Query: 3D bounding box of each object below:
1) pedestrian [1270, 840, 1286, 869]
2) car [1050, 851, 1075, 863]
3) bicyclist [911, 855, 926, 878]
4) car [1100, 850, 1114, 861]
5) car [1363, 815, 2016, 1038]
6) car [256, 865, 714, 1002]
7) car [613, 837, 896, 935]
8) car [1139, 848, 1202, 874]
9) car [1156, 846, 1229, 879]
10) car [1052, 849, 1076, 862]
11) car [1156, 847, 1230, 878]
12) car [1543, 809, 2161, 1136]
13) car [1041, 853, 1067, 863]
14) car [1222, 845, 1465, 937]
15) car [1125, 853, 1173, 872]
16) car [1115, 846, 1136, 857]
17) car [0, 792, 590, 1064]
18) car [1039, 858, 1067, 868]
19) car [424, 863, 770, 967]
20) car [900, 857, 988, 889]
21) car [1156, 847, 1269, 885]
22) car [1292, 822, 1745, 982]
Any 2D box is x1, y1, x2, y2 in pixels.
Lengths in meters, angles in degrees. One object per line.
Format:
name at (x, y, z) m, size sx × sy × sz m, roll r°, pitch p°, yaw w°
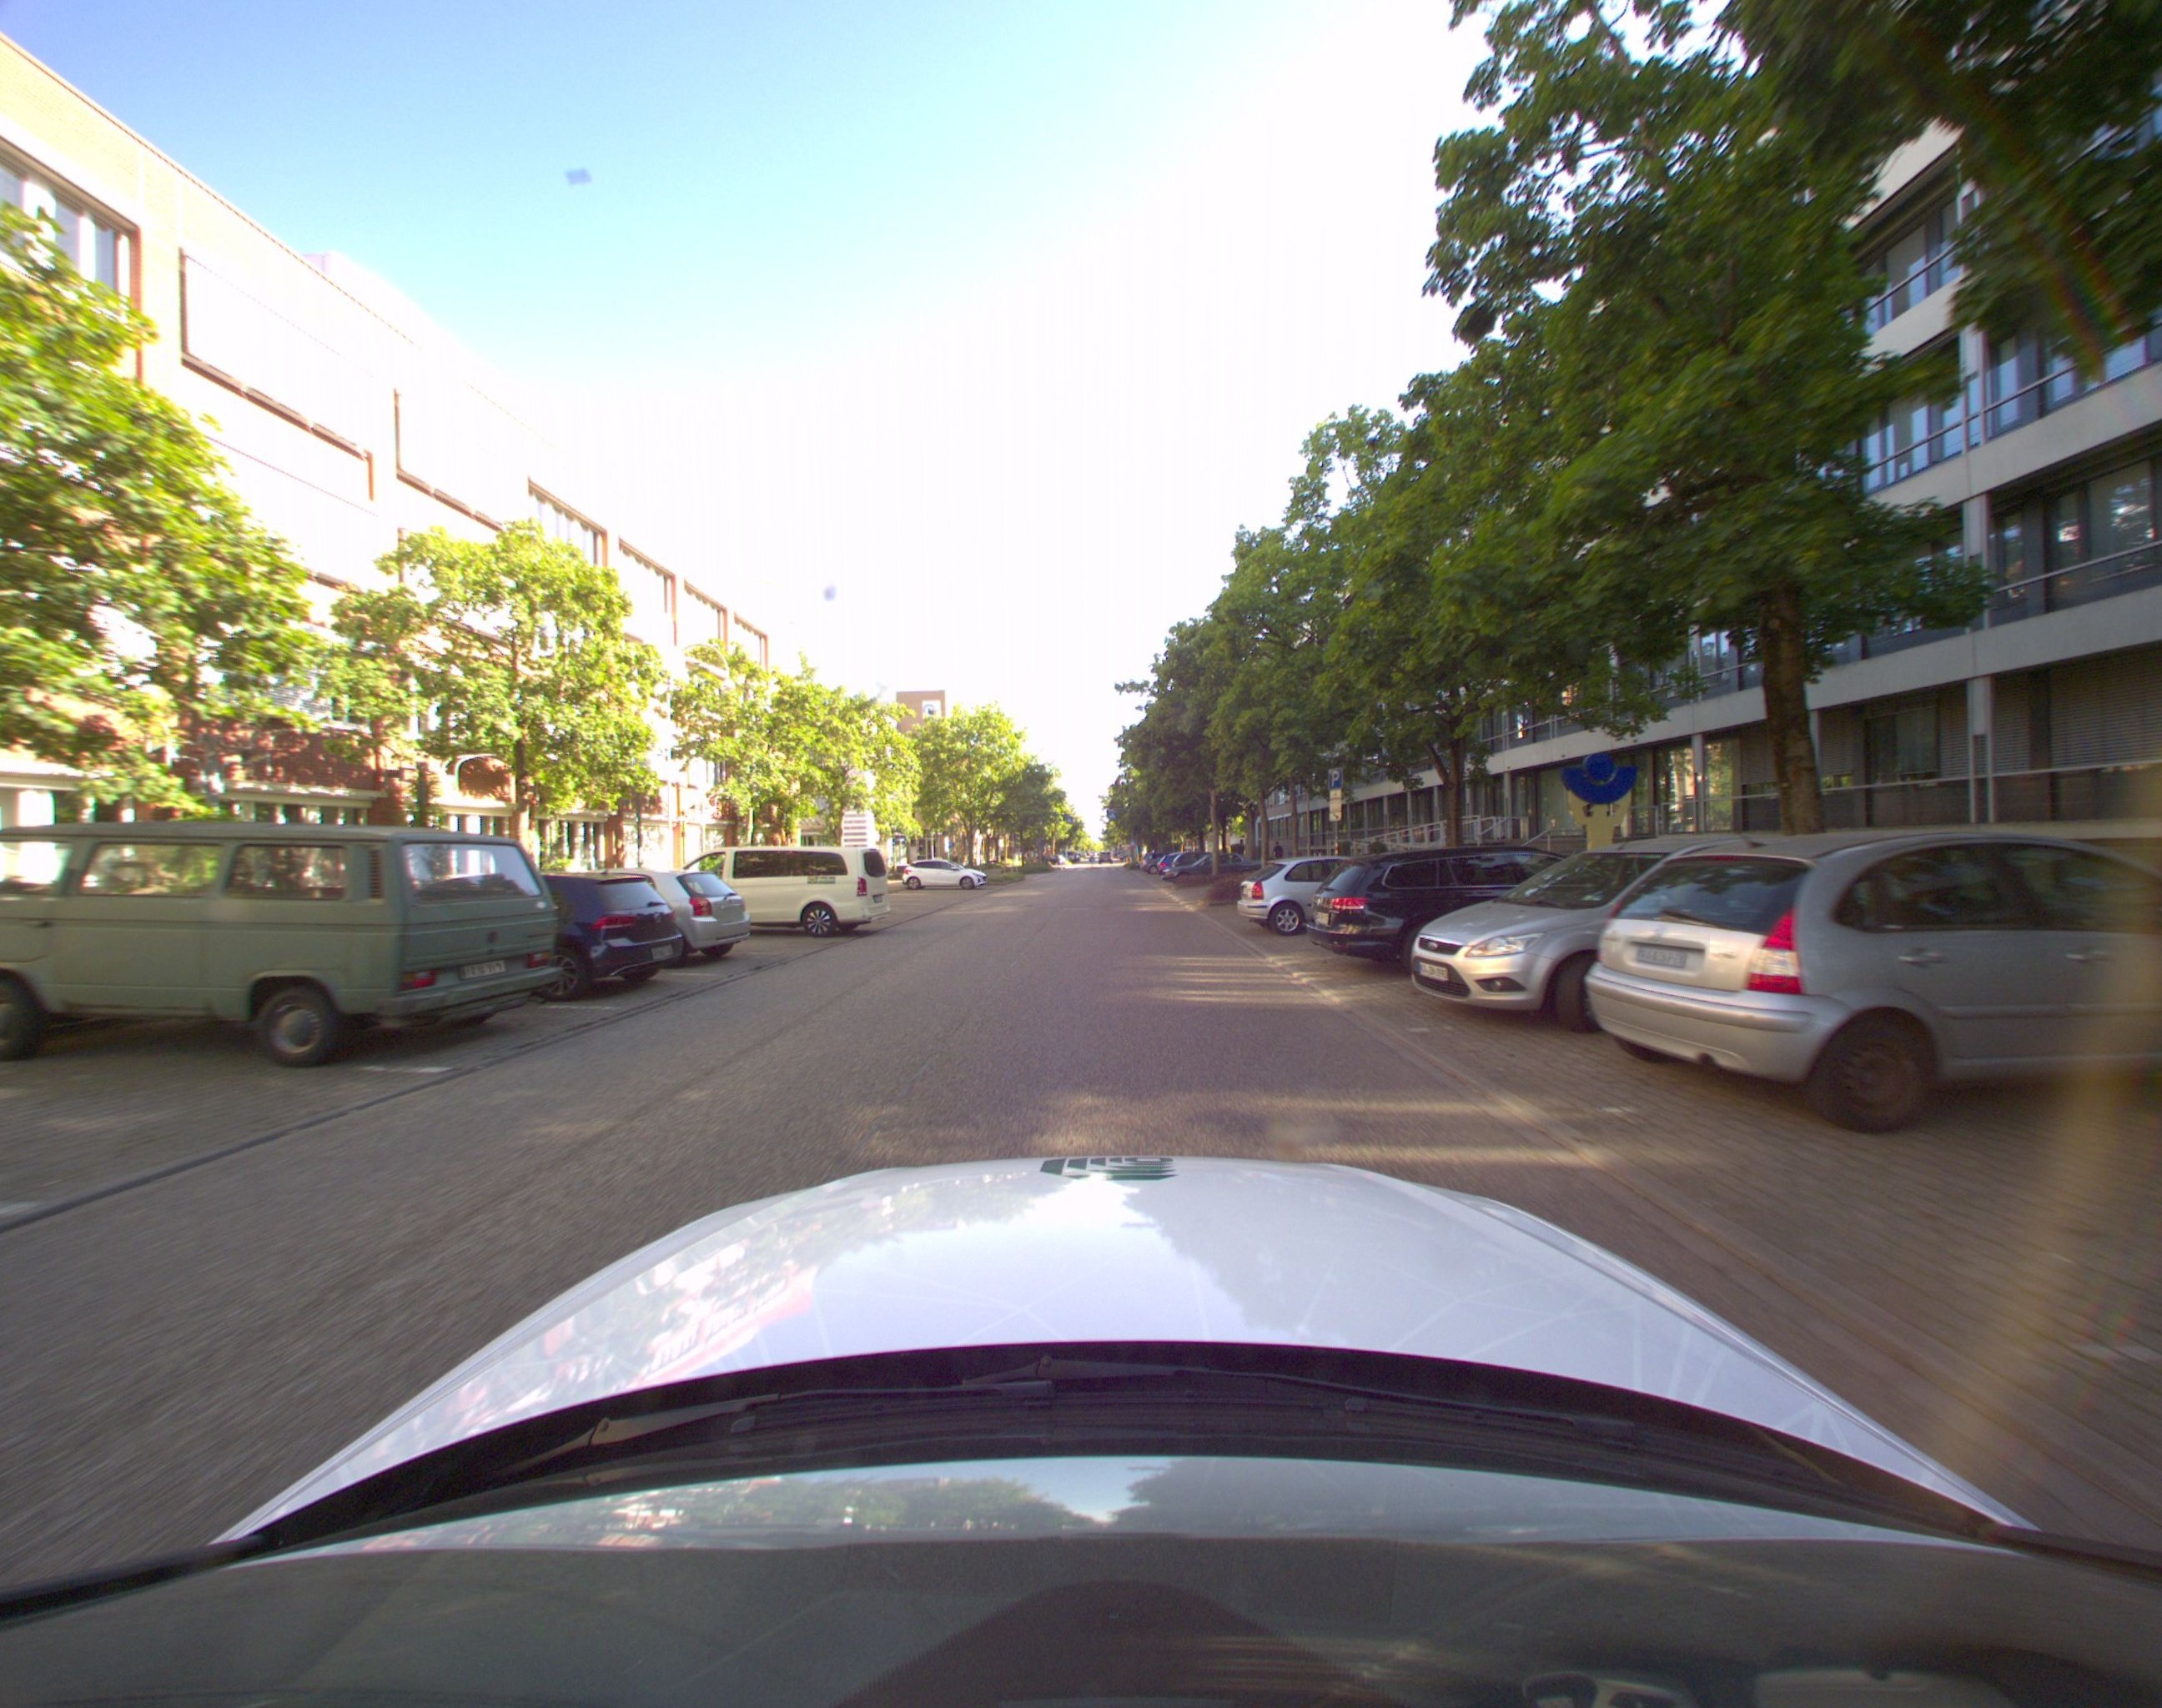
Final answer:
pedestrian at (12.025, 0.039, 49.721) m, size 0.605 × 1.745 × 1.191 m, roll -2°, pitch 0°, yaw 1°
car at (-3.225, 0.500, 141.914) m, size 3.967 × 2.013 × 2.003 m, roll -2°, pitch 0°, yaw 5°
bicyclist at (-9.891, 0.775, 49.626) m, size 0.602 × 1.353 × 0.914 m, roll -2°, pitch 0°, yaw 5°
car at (3.835, 0.261, 120.491) m, size 1.986 × 1.640 × 4.001 m, roll 0°, pitch 0°, yaw 1°
car at (5.018, 0.568, 7.288) m, size 4.269 × 1.493 × 2.005 m, roll -3°, pitch 0°, yaw 2°
car at (-7.172, 0.894, 10.124) m, size 4.302 × 1.477 × 1.945 m, roll 0°, pitch 0°, yaw 3°
car at (-6.832, 0.653, 17.457) m, size 5.239 × 1.967 × 1.943 m, roll 0°, pitch 0°, yaw 1°
car at (6.571, 0.499, 59.880) m, size 4.339 × 1.703 × 1.812 m, roll -3°, pitch 0°, yaw -2°
car at (5.877, 0.461, 43.250) m, size 3.628 × 1.514 × 1.813 m, roll -3°, pitch 0°, yaw 1°
car at (-3.054, 0.255, 145.085) m, size 3.967 × 2.013 × 2.003 m, roll -2°, pitch 0°, yaw 5°
car at (6.232, 0.471, 45.744) m, size 3.933 × 1.514 × 1.814 m, roll -3°, pitch 0°, yaw 2°
car at (5.162, 0.559, 4.987) m, size 3.735 × 1.493 × 1.615 m, roll -3°, pitch 0°, yaw -3°
car at (-3.967, 0.549, 119.759) m, size 3.842 × 1.473 × 1.810 m, roll 0°, pitch 0°, yaw -5°
car at (4.801, 0.657, 15.281) m, size 3.957 × 1.420 × 1.710 m, roll -3°, pitch 0°, yaw -1°
car at (6.299, 0.799, 75.370) m, size 4.179 × 1.473 × 1.811 m, roll -3°, pitch 0°, yaw -2°
car at (8.966, -0.502, 163.125) m, size 3.974 × 2.013 × 2.000 m, roll -2°, pitch 0°, yaw -1°
car at (-7.331, 0.561, 7.414) m, size 4.469 × 2.090 × 2.085 m, roll 0°, pitch 0°, yaw 3°
car at (-3.971, 1.272, 114.675) m, size 3.846 × 1.473 × 1.808 m, roll 0°, pitch 0°, yaw -8°
car at (-7.457, 0.893, 12.849) m, size 4.302 × 1.477 × 1.945 m, roll 0°, pitch 0°, yaw 3°
car at (-6.641, 0.931, 39.777) m, size 3.973 × 1.486 × 1.807 m, roll -1°, pitch 0°, yaw 0°
car at (5.942, 0.528, 37.285) m, size 4.810 × 1.420 × 2.031 m, roll -3°, pitch 0°, yaw -1°
car at (5.146, 0.546, 10.061) m, size 4.574 × 1.493 × 1.763 m, roll -4°, pitch 0°, yaw 1°
